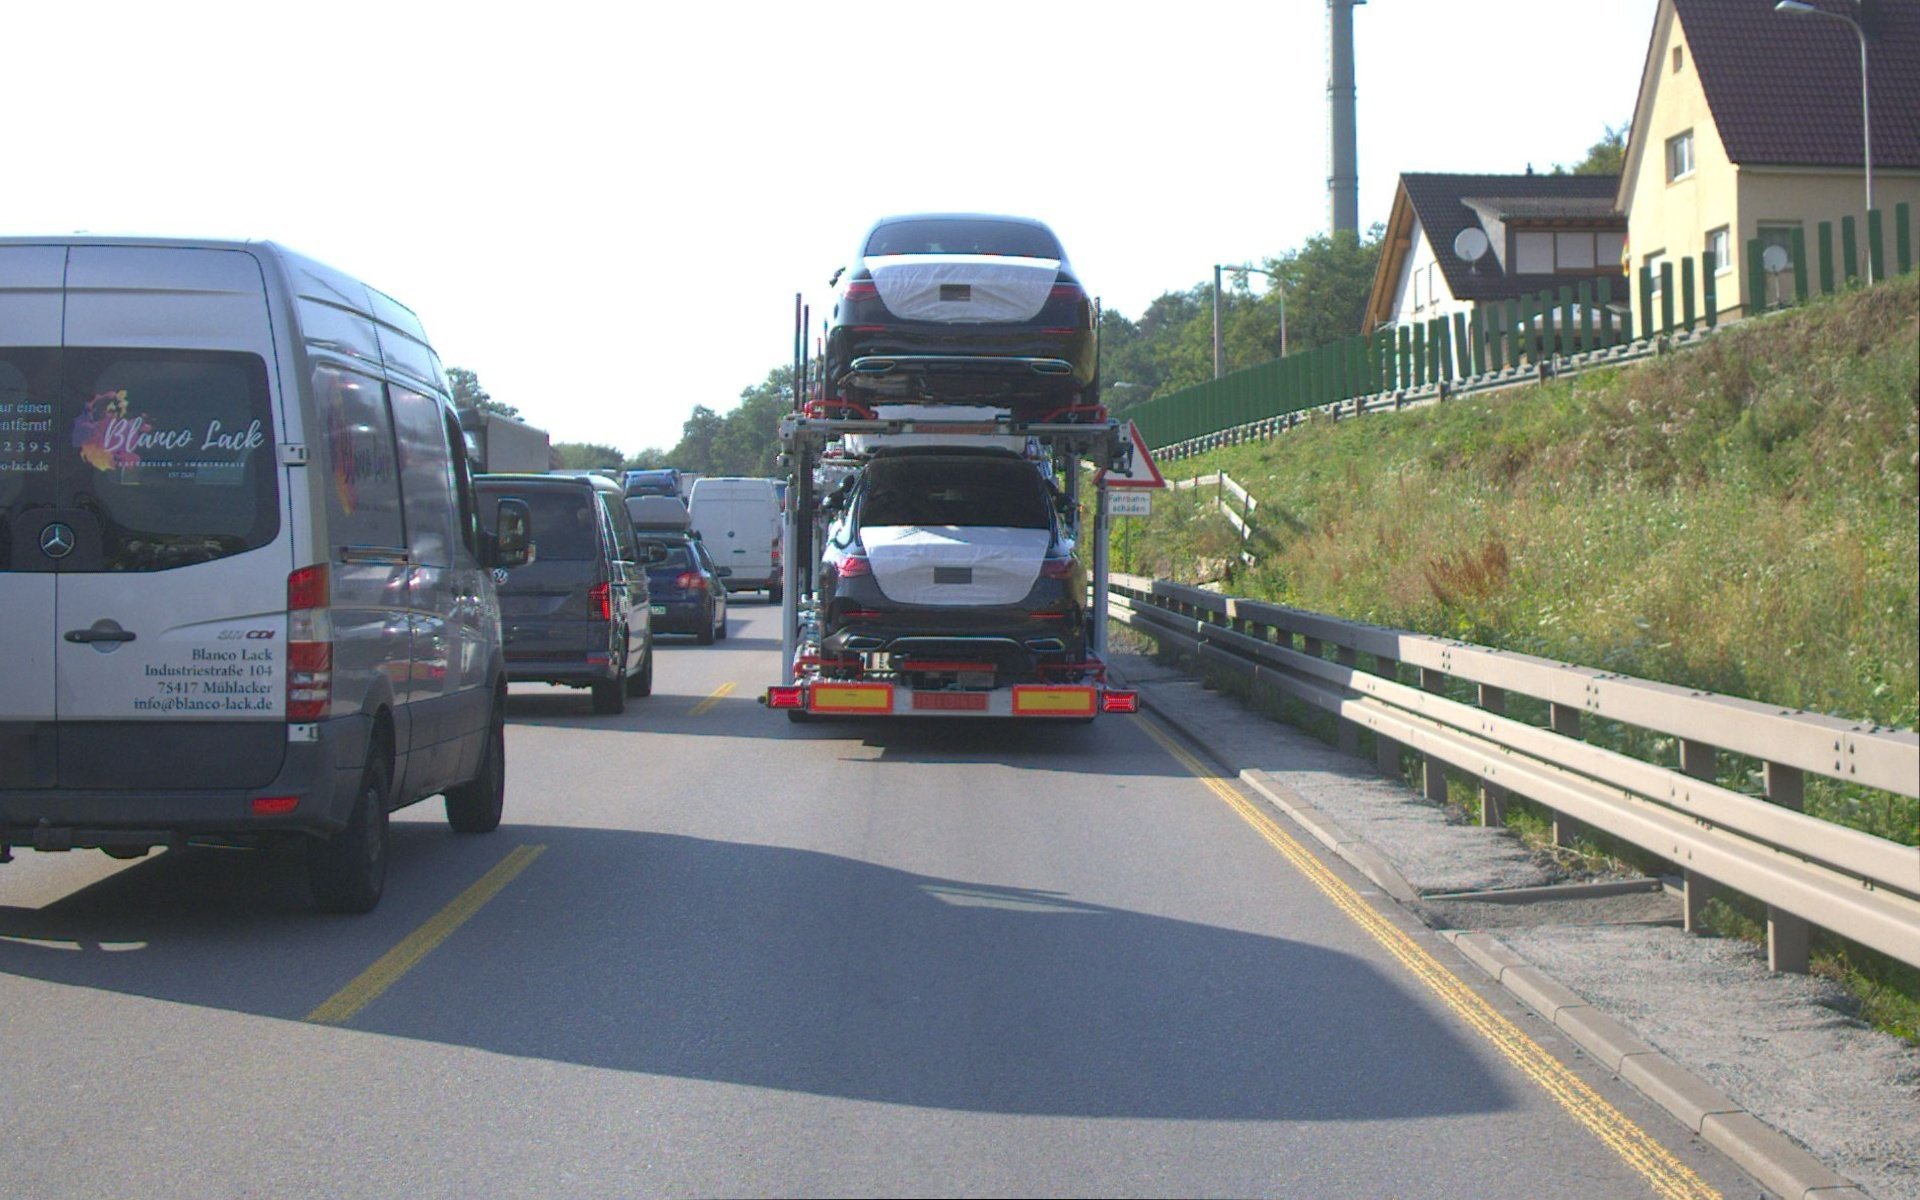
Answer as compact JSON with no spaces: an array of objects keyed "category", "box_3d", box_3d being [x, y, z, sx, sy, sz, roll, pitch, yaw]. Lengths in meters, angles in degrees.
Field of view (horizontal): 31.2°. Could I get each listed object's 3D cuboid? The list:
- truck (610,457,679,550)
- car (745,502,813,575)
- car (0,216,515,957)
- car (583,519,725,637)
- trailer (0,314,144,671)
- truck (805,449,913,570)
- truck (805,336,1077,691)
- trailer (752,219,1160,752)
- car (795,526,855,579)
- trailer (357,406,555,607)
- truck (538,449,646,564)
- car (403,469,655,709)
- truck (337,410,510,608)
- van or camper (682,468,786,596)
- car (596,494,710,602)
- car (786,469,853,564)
[{"category":"truck","box_3d":[-14.688,-4.507,160.499,2.624,4.098,9.629,-3,2,-3]},{"category":"car","box_3d":[-5.321,-1.807,101.476,1.885,2.092,3.766,1,1,-1]},{"category":"car","box_3d":[-3.273,-0.111,15.052,1.993,2.639,5.531,-1,1,-1]},{"category":"car","box_3d":[-4.155,-0.332,47.129,1.725,1.517,3.974,1,1,-2]},{"category":"trailer","box_3d":[-10.750,-1.084,34.716,2.557,3.514,10.682,1,0,-1]},{"category":"truck","box_3d":[-3.980,-3.629,138.755,4.065,4.663,10.592,0,1,0]},{"category":"truck","box_3d":[-0.239,-0.906,38.044,2.682,3.522,7.194,1,1,-1]},{"category":"trailer","box_3d":[-0.125,-0.845,30.588,2.682,3.522,15.289,1,1,-1]},{"category":"car","box_3d":[-4.786,-1.687,122.179,1.993,1.853,4.000,0,1,0]},{"category":"trailer","box_3d":[-11.506,-2.043,79.900,2.913,4.225,13.770,1,0,-2]},{"category":"truck","box_3d":[-11.641,-2.907,109.361,2.714,3.413,8.142,-2,1,-2]},{"category":"car","box_3d":[-3.626,-0.090,29.544,1.808,1.897,4.000,1,0,-3]},{"category":"truck","box_3d":[-11.325,-1.871,72.993,2.860,3.994,5.658,1,0,-1]},{"category":"van or camper","box_3d":[-4.737,-1.413,72.603,1.968,2.583,5.042,1,0,-2]},{"category":"car","box_3d":[-7.528,-1.248,84.683,2.471,2.525,4.000,2,0,-2]},{"category":"car","box_3d":[-7.777,-4.585,188.874,3.444,5.018,9.654,1,1,-3]}]
